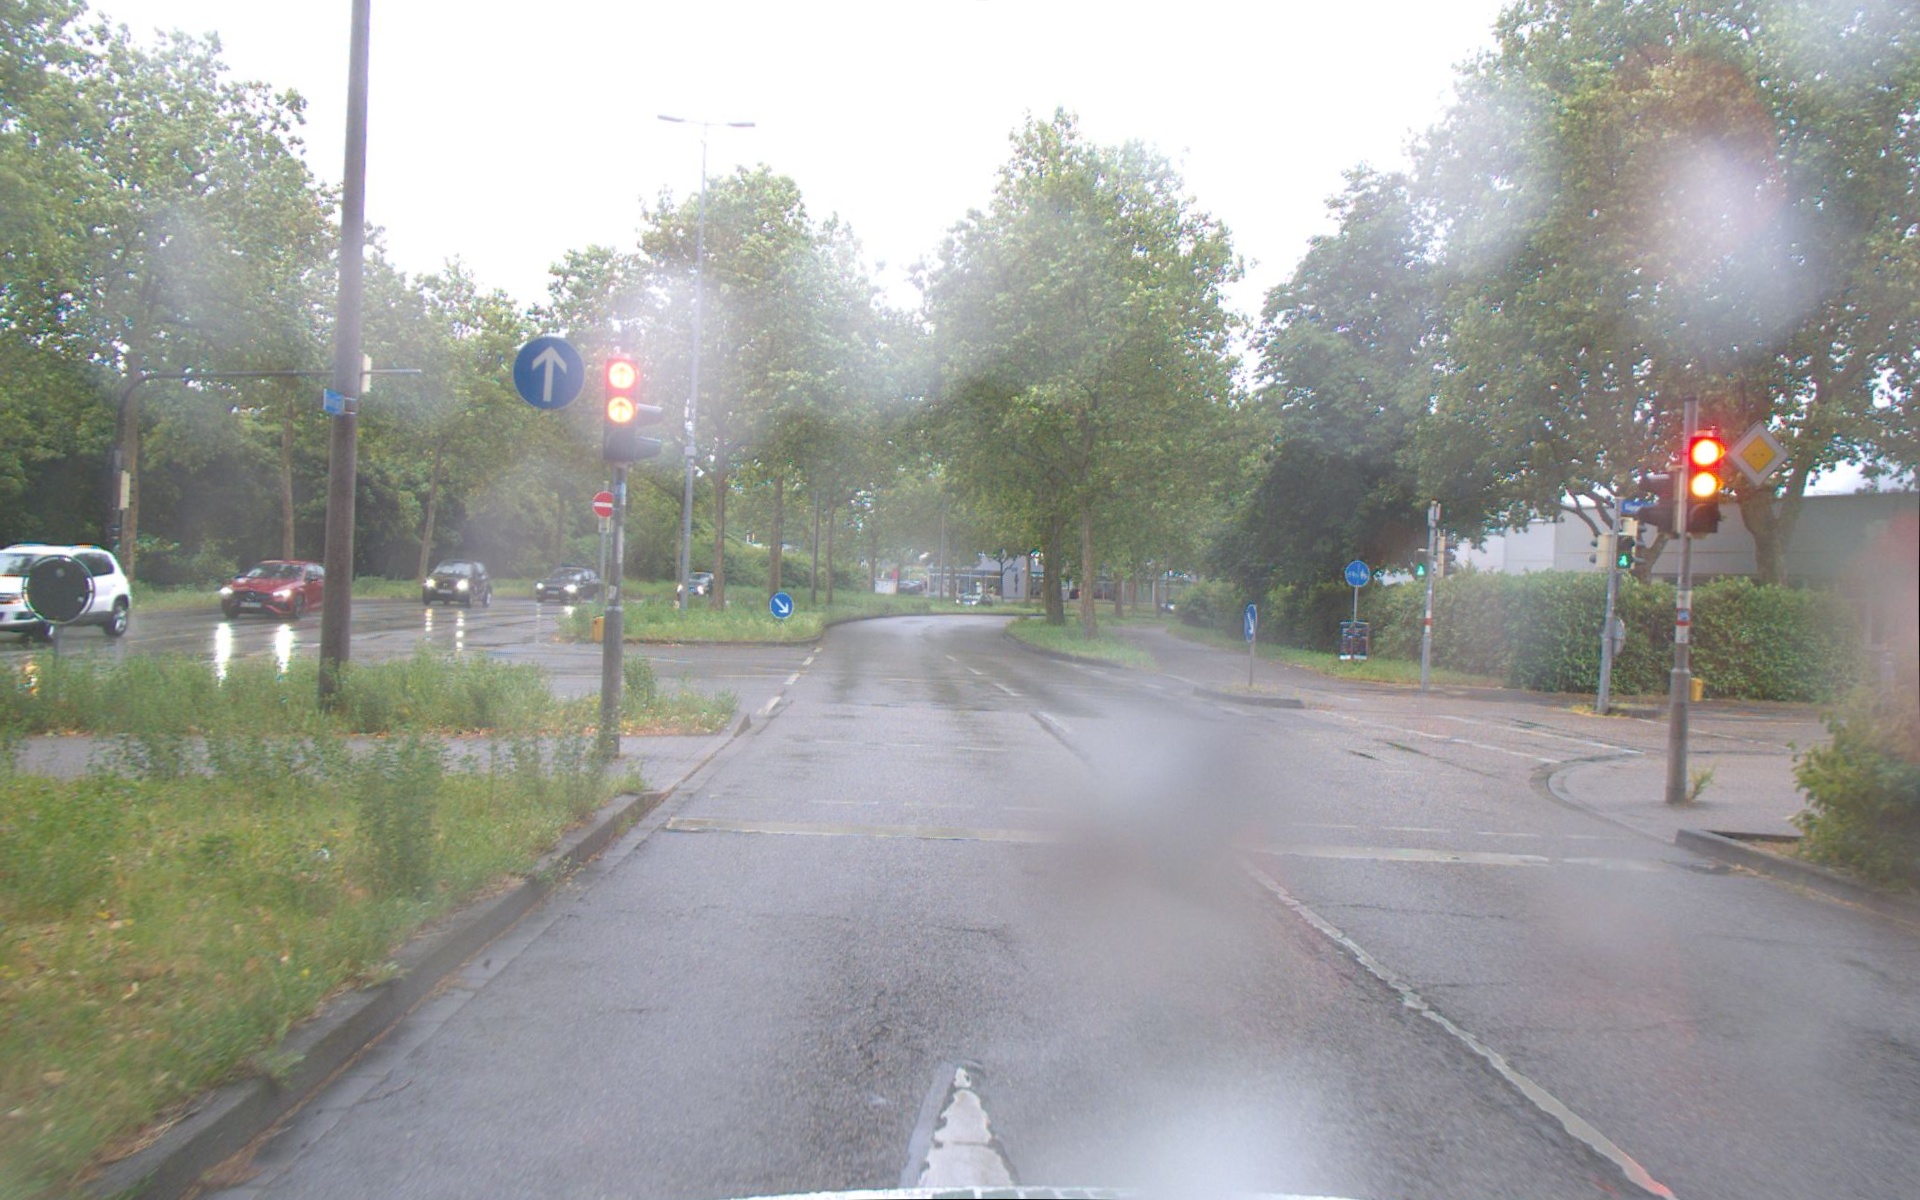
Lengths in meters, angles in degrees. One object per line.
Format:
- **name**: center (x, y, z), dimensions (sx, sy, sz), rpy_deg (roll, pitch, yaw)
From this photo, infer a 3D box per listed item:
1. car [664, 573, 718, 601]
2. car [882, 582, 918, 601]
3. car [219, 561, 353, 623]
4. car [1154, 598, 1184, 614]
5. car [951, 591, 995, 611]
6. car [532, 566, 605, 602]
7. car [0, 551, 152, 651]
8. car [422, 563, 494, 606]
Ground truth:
- **car**: center (-14.065, -0.662, 86.694), dimensions (1.553, 1.396, 4.265), rpy_deg (2, 0, 8)
- **car**: center (-7.012, -0.998, 192.835), dimensions (3.915, 2.049, 1.995), rpy_deg (3, -1, -11)
- **car**: center (-17.017, -0.199, 41.997), dimensions (1.708, 1.432, 4.442), rpy_deg (2, 0, -2)
- **car**: center (22.408, 0.621, 177.159), dimensions (1.932, 1.591, 4.728), rpy_deg (3, 0, 24)
- **car**: center (1.008, 0.089, 127.254), dimensions (1.961, 1.477, 4.994), rpy_deg (2, 0, 17)
- **car**: center (-16.182, -0.636, 68.538), dimensions (1.553, 1.396, 4.265), rpy_deg (2, 0, 6)
- **car**: center (-16.592, -0.018, 30.183), dimensions (1.709, 1.660, 4.441), rpy_deg (2, 0, -4)
- **car**: center (-17.326, -0.529, 57.186), dimensions (1.555, 1.396, 3.332), rpy_deg (2, 0, -3)
